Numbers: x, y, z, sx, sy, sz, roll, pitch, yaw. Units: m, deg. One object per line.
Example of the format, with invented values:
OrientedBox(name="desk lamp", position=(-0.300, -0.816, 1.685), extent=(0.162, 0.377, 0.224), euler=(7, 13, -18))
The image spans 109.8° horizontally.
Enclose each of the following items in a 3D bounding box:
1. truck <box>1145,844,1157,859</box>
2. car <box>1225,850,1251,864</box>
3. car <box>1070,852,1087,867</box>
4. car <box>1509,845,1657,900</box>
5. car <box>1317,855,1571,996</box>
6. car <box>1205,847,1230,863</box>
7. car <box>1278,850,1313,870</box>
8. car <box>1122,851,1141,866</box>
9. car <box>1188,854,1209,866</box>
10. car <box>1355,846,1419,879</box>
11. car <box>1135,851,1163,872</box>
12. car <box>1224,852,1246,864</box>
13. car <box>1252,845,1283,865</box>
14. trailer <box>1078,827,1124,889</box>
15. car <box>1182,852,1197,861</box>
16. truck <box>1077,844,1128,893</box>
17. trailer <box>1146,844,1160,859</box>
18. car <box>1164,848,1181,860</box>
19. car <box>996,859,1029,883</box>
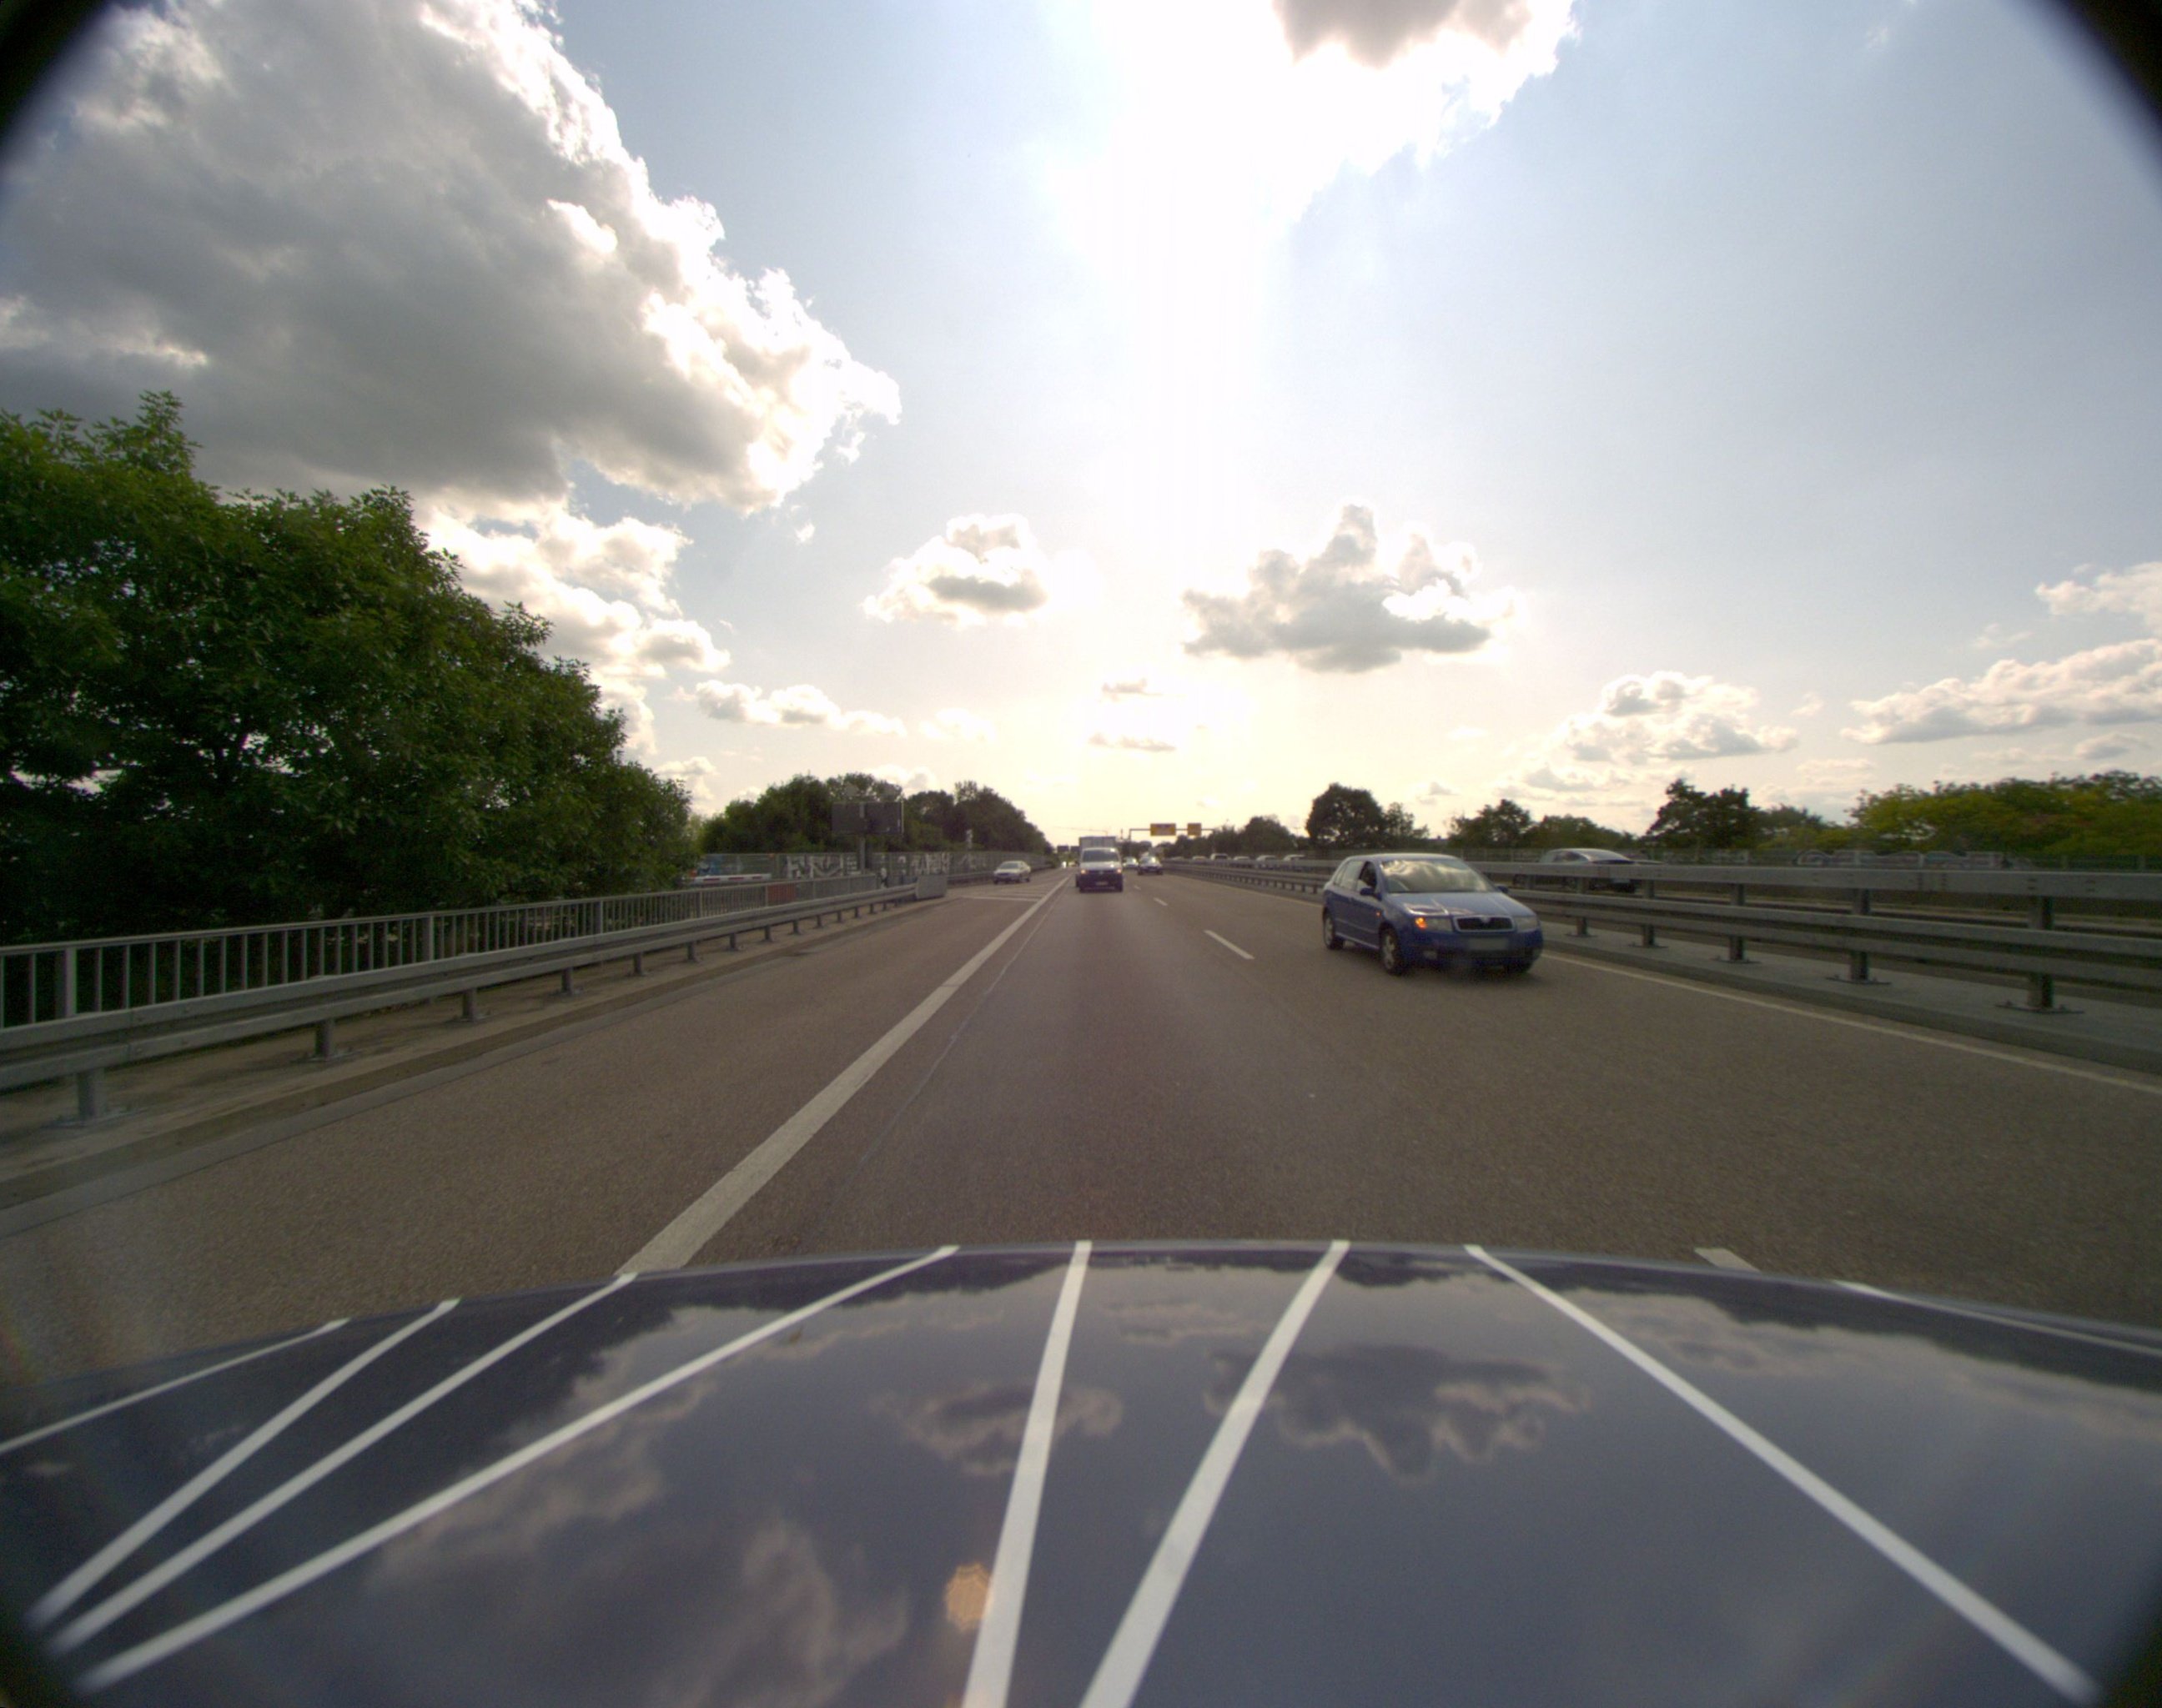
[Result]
OrientedBox(name="truck", position=(18.261, -0.684, 198.537), extent=(2.655, 3.760, 6.232), euler=(-2, 1, 1))
OrientedBox(name="car", position=(16.250, 0.315, 78.856), extent=(1.789, 1.381, 4.047), euler=(-2, -1, -1))
OrientedBox(name="car", position=(-0.235, 0.604, 87.526), extent=(1.802, 1.587, 3.985), euler=(-2, 0, 1))
OrientedBox(name="car", position=(16.675, 0.561, 25.585), extent=(1.895, 1.630, 4.512), euler=(-2, 0, -1))
OrientedBox(name="car", position=(4.427, 0.766, 9.931), extent=(1.625, 1.403, 3.772), euler=(-2, 0, 3))
OrientedBox(name="car", position=(17.017, 0.165, 94.727), extent=(1.965, 1.914, 5.191), euler=(-3, 0, -2))
OrientedBox(name="car", position=(16.789, 0.434, 59.654), extent=(1.602, 1.466, 3.630), euler=(1, 0, -1))
OrientedBox(name="car", position=(5.614, 0.483, 84.613), extent=(1.895, 1.518, 4.464), euler=(-2, 0, 1))
OrientedBox(name="car", position=(12.533, 0.644, 81.127), extent=(1.685, 1.178, 4.000), euler=(-2, 0, 0))
OrientedBox(name="car", position=(16.394, 0.435, 40.927), extent=(1.826, 1.629, 4.000), euler=(-2, 0, 0))
OrientedBox(name="car", position=(5.352, 0.533, 60.107), extent=(1.779, 1.518, 4.464), euler=(-2, 0, 1))
OrientedBox(name="car", position=(20.589, 0.494, 101.617), extent=(1.929, 1.565, 4.282), euler=(-1, 0, -1))
OrientedBox(name="car", position=(16.799, 0.111, 68.583), extent=(1.586, 1.701, 4.410), euler=(-2, -1, -1))
OrientedBox(name="trailer", position=(0.923, 0.166, 37.397), extent=(1.998, 2.723, 5.966), euler=(-2, 0, 0))
OrientedBox(name="car", position=(18.801, 0.444, 132.147), extent=(1.929, 1.565, 4.282), euler=(-1, 0, -1))
OrientedBox(name="truck", position=(0.882, 0.570, 32.390), extent=(2.008, 1.905, 4.000), euler=(-1, 0, 0))
OrientedBox(name="trailer", position=(18.160, -0.719, 192.658), extent=(2.691, 3.648, 11.028), euler=(-2, 0, 1))
OrientedBox(name="car", position=(12.632, -0.032, 105.134), extent=(1.679, 1.562, 4.060), euler=(-2, 0, -1))
OrientedBox(name="car", position=(-4.555, 1.089, 50.728), extent=(1.768, 1.403, 3.771), euler=(-2, 0, 1))
